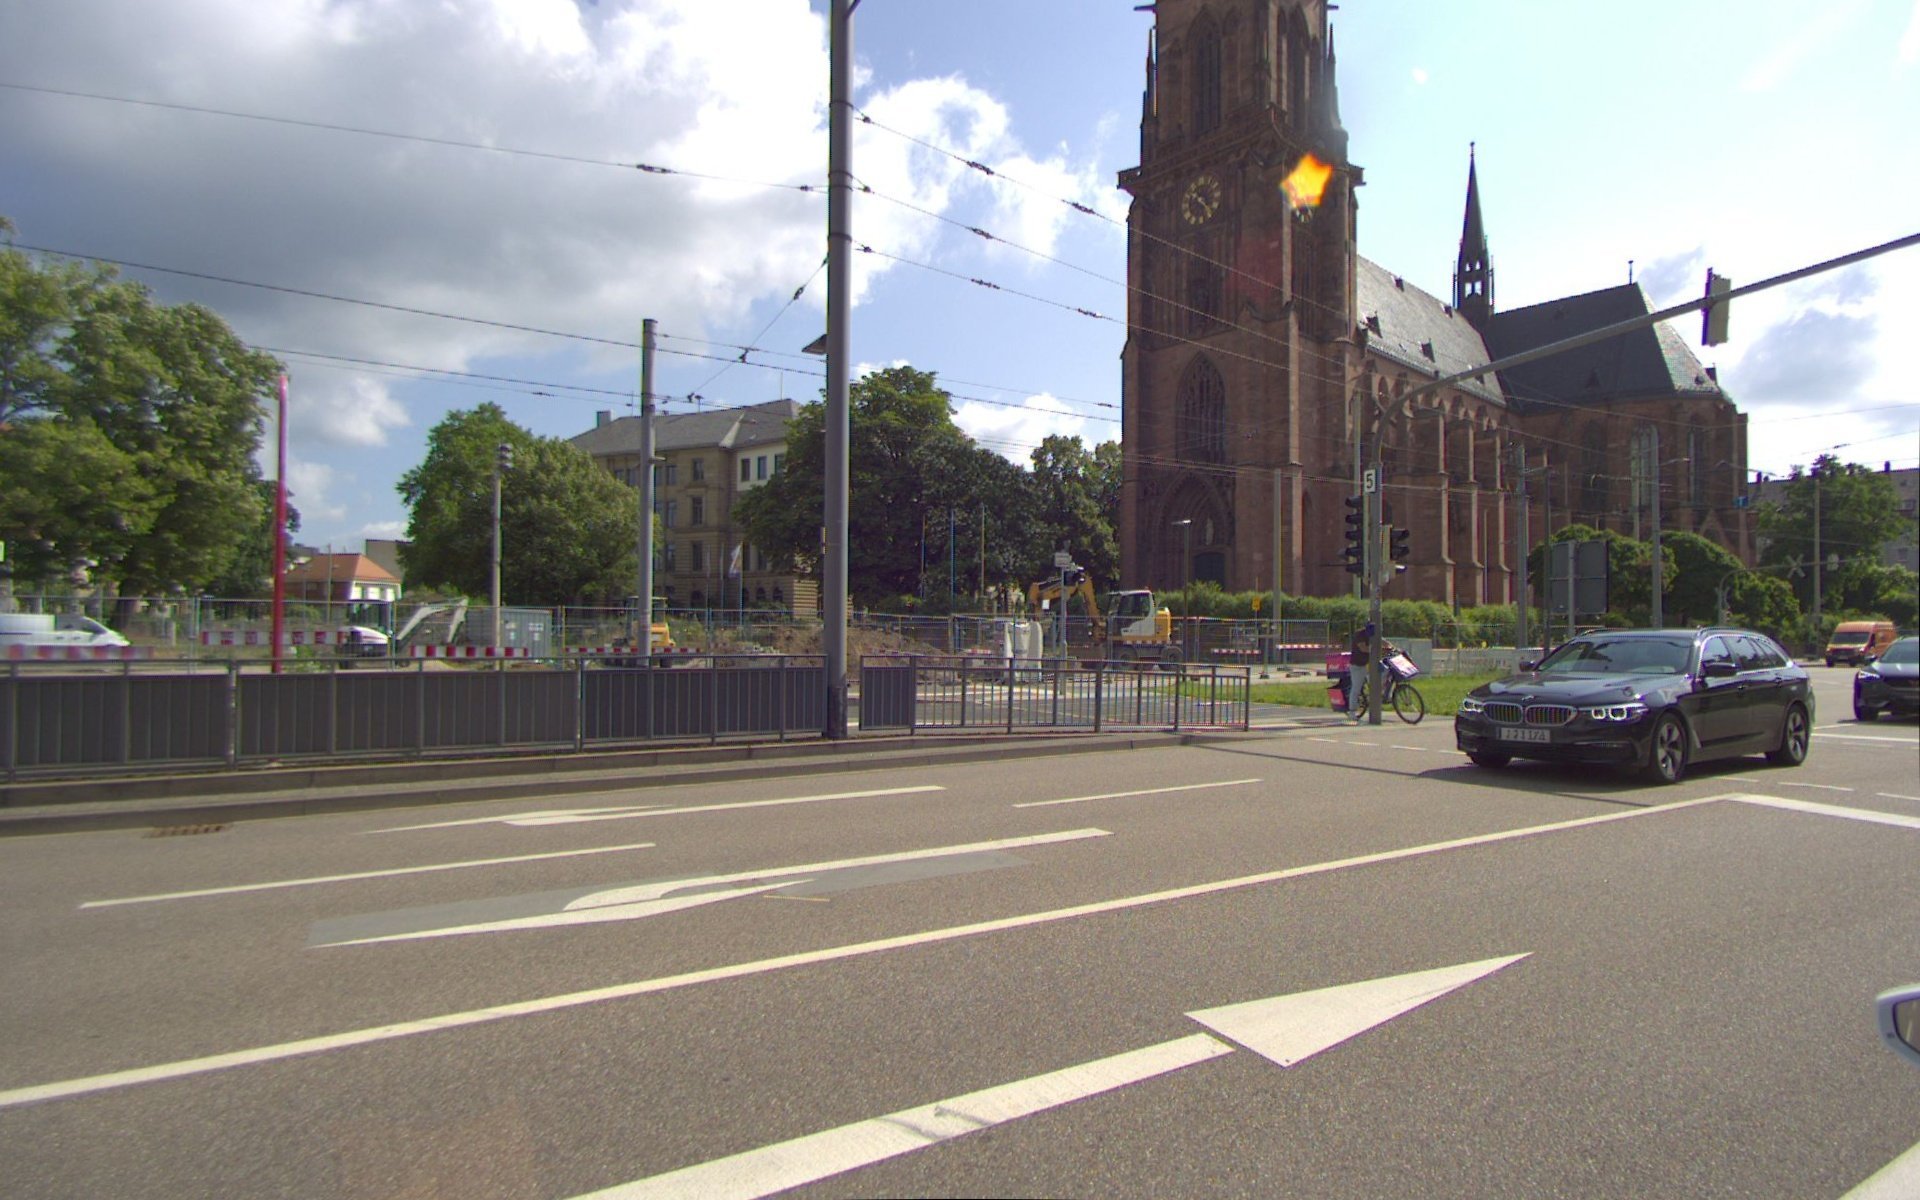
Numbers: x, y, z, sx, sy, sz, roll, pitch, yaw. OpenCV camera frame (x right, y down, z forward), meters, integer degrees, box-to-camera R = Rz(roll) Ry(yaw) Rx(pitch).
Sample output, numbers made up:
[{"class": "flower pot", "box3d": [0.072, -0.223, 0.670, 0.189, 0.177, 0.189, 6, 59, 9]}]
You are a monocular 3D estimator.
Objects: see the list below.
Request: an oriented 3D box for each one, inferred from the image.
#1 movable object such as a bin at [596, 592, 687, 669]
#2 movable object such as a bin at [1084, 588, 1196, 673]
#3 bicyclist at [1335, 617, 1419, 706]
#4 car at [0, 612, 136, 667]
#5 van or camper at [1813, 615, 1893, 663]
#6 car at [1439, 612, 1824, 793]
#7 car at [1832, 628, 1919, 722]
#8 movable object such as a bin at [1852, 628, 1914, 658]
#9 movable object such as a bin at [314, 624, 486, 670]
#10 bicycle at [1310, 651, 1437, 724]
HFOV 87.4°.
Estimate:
[{"class": "movable object such as a bin", "box3d": [-13.008, 1.244, 40.836, 1.981, 2.950, 5.101, 1, -2, -37]}, {"class": "movable object such as a bin", "box3d": [7.170, 1.170, 40.001, 3.947, 3.147, 1.987, -1, 0, -26]}, {"class": "bicyclist", "box3d": [7.116, 1.032, 17.176, 0.812, 1.455, 1.088, 1, -2, -20]}, {"class": "car", "box3d": [-38.155, 1.619, 42.554, 1.905, 2.166, 4.639, -1, -1, 27]}, {"class": "van or camper", "box3d": [53.581, 2.336, 60.219, 6.141, 2.773, 2.241, 2, -2, -35]}, {"class": "car", "box3d": [7.273, 0.967, 10.744, 4.511, 1.572, 1.807, 2, -2, -33]}, {"class": "car", "box3d": [17.672, 1.307, 18.211, 4.251, 1.572, 1.788, 2, -2, -34]}, {"class": "movable object such as a bin", "box3d": [58.567, 2.732, 63.734, 3.679, 1.716, 2.192, -1, -1, -35]}, {"class": "movable object such as a bin", "box3d": [-20.063, 1.656, 36.146, 5.118, 1.522, 1.975, 2, -3, -43]}, {"class": "bicycle", "box3d": [7.039, 1.462, 17.214, 0.917, 1.141, 2.016, 1, -2, -19]}]
